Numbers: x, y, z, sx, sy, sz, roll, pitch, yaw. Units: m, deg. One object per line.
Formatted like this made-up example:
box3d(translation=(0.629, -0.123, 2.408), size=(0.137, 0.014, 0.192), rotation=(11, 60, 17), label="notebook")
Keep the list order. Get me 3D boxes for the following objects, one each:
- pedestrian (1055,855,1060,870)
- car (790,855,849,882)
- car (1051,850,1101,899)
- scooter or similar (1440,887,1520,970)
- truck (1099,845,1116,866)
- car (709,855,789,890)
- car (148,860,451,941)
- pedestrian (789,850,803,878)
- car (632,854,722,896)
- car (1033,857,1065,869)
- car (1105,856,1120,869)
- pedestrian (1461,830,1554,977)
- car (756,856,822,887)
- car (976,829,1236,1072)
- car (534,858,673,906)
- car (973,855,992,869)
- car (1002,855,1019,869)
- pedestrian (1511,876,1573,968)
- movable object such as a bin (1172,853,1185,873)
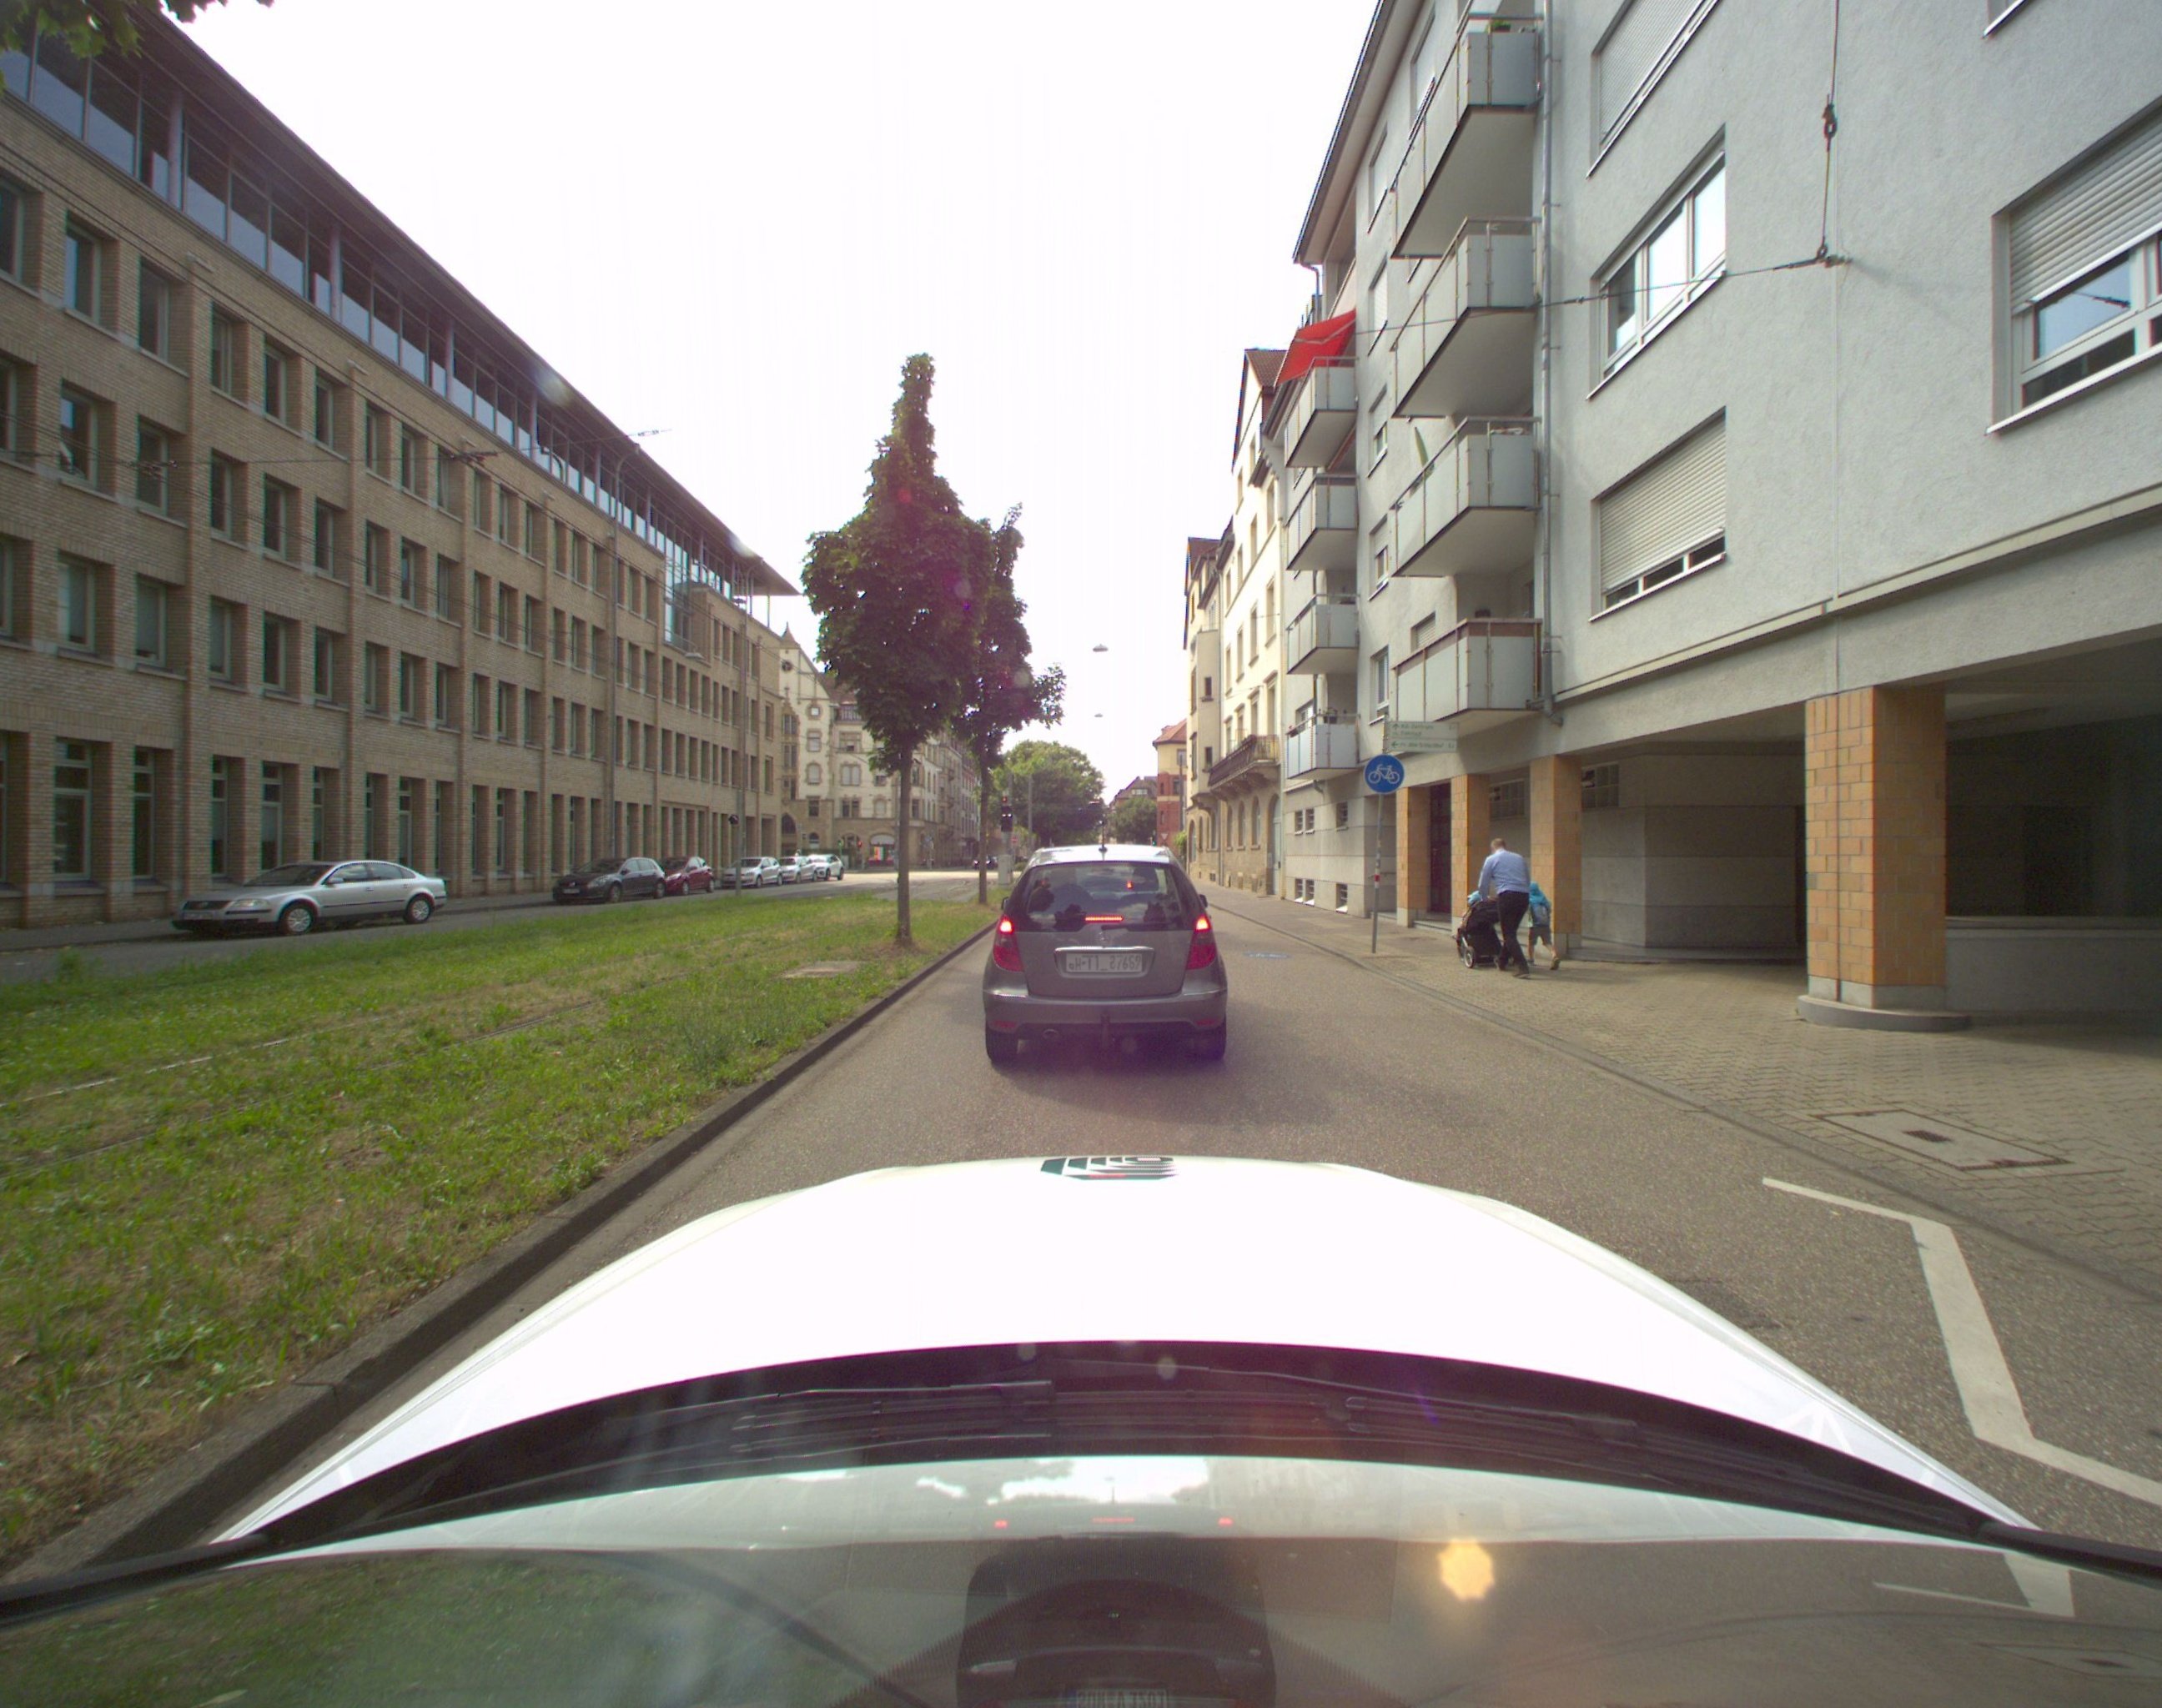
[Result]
box3d(translation=(-2.676, 0.949, 92.829), size=(0.493, 1.725, 0.652), rotation=(0, 0, -9), label="pedestrian")
box3d(translation=(-15.225, 0.817, 47.606), size=(1.925, 1.535, 4.260), rotation=(0, 0, 2), label="car")
box3d(translation=(-0.127, 0.728, 30.480), size=(1.716, 1.706, 3.678), rotation=(-1, 0, 2), label="car")
box3d(translation=(5.385, 0.987, 11.038), size=(0.590, 1.002, 0.906), rotation=(-4, 0, 2), label="scooter or similar")
box3d(translation=(3.843, 0.235, 116.973), size=(2.113, 2.970, 4.005), rotation=(-1, 0, 5), label="truck")
box3d(translation=(-15.291, 0.814, 37.736), size=(1.844, 1.530, 4.212), rotation=(0, 0, 2), label="car")
box3d(translation=(-15.461, 0.837, 16.548), size=(1.708, 1.396, 4.486), rotation=(0, 0, 2), label="car")
box3d(translation=(-18.436, 0.655, 52.666), size=(0.763, 1.795, 0.952), rotation=(0, -1, -24), label="pedestrian")
box3d(translation=(-15.406, 0.771, 31.247), size=(1.577, 1.530, 3.551), rotation=(0, 0, 2), label="car")
box3d(translation=(-3.923, 1.096, 98.876), size=(1.984, 1.339, 3.954), rotation=(0, 0, -38), label="car")
box3d(translation=(3.982, 1.040, 104.083), size=(1.744, 1.633, 3.504), rotation=(0, 0, 5), label="car")
box3d(translation=(5.321, 0.594, 10.219), size=(0.618, 1.738, 0.877), rotation=(-4, 0, 2), label="pedestrian")
box3d(translation=(-15.331, 0.880, 42.985), size=(1.925, 1.530, 4.016), rotation=(0, 0, 2), label="car")
box3d(translation=(0.222, 0.655, 7.276), size=(1.716, 1.605, 3.678), rotation=(-1, 0, 2), label="car")
box3d(translation=(-15.400, 0.854, 26.567), size=(1.925, 1.396, 4.241), rotation=(0, 0, 2), label="car")
box3d(translation=(-11.622, 0.912, 96.173), size=(1.990, 1.618, 3.994), rotation=(-1, 0, -4), label="car")
box3d(translation=(-8.443, 0.952, 97.635), size=(1.990, 1.728, 3.994), rotation=(-1, 0, -4), label="car")
box3d(translation=(6.002, 0.872, 10.620), size=(0.454, 1.135, 0.494), rotation=(-4, 0, 1), label="pedestrian")
box3d(translation=(7.139, 0.658, 59.580), size=(0.714, 1.472, 0.980), rotation=(-1, -1, -8), label="movable object such as a bin")
